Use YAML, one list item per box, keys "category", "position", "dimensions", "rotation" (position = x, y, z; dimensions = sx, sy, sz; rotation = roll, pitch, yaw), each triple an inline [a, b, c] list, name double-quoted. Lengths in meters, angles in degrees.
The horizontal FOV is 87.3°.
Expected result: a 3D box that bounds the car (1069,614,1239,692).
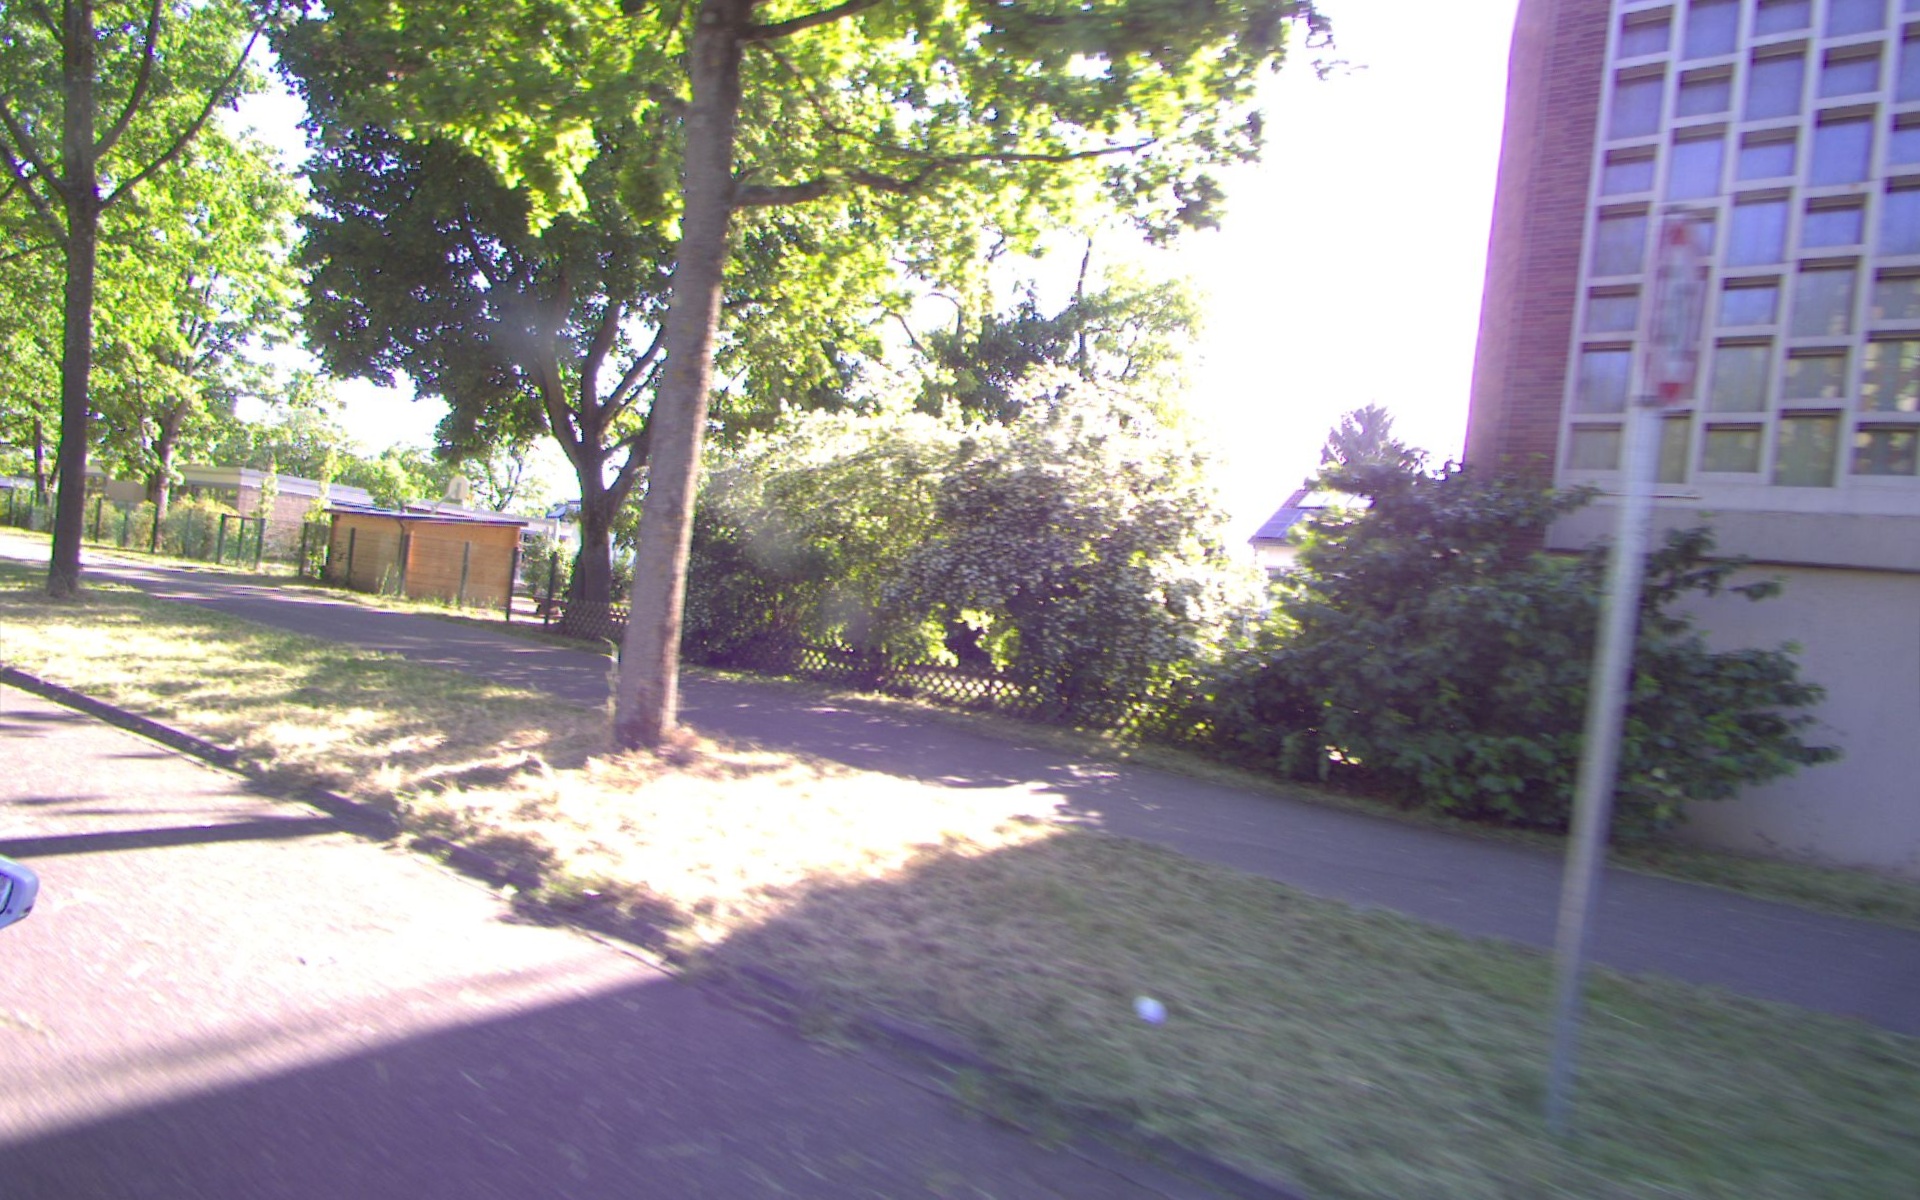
- category: "car"
  position: [5.135, 1.393, 26.888]
  dimensions: [3.941, 1.638, 1.873]
  rotation: [5, -1, 38]
